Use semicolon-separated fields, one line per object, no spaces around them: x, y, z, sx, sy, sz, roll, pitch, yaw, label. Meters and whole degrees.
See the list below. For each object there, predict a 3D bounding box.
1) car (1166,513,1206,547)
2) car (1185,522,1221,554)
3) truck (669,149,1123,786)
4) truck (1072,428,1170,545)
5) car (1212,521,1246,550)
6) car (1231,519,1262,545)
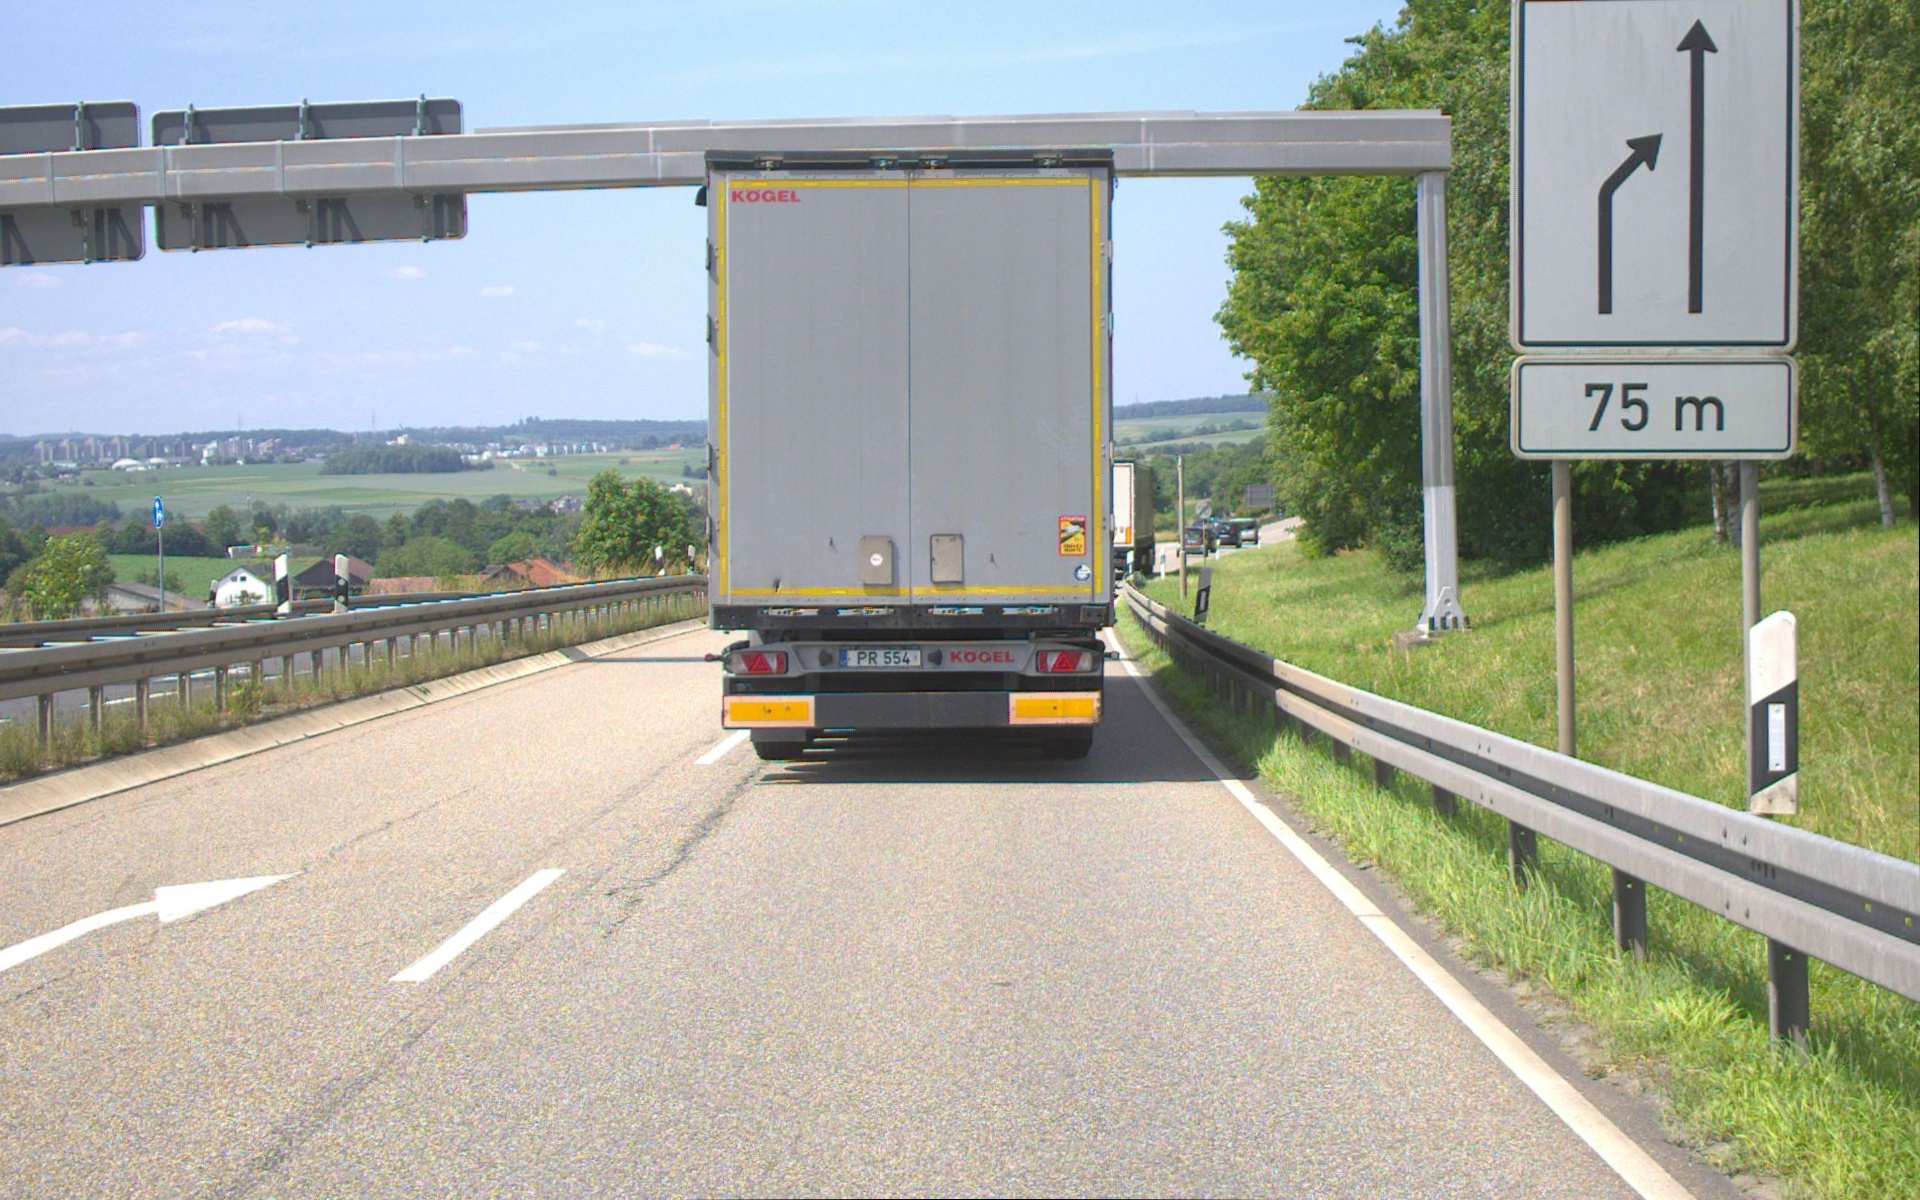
11.489;-3.544;174.853;1.786;1.682;4.000;0;0;1;car
13.574;-3.461;192.150;1.786;1.682;4.000;0;0;1;car
-0.307;-0.931;26.857;2.799;3.916;11.342;0;1;1;truck
5.623;-3.824;118.553;2.656;3.752;10.159;0;0;7;truck
16.639;-3.975;212.754;1.786;1.682;4.000;0;0;1;car
19.329;-4.568;232.417;1.786;1.682;4.000;0;0;1;car
